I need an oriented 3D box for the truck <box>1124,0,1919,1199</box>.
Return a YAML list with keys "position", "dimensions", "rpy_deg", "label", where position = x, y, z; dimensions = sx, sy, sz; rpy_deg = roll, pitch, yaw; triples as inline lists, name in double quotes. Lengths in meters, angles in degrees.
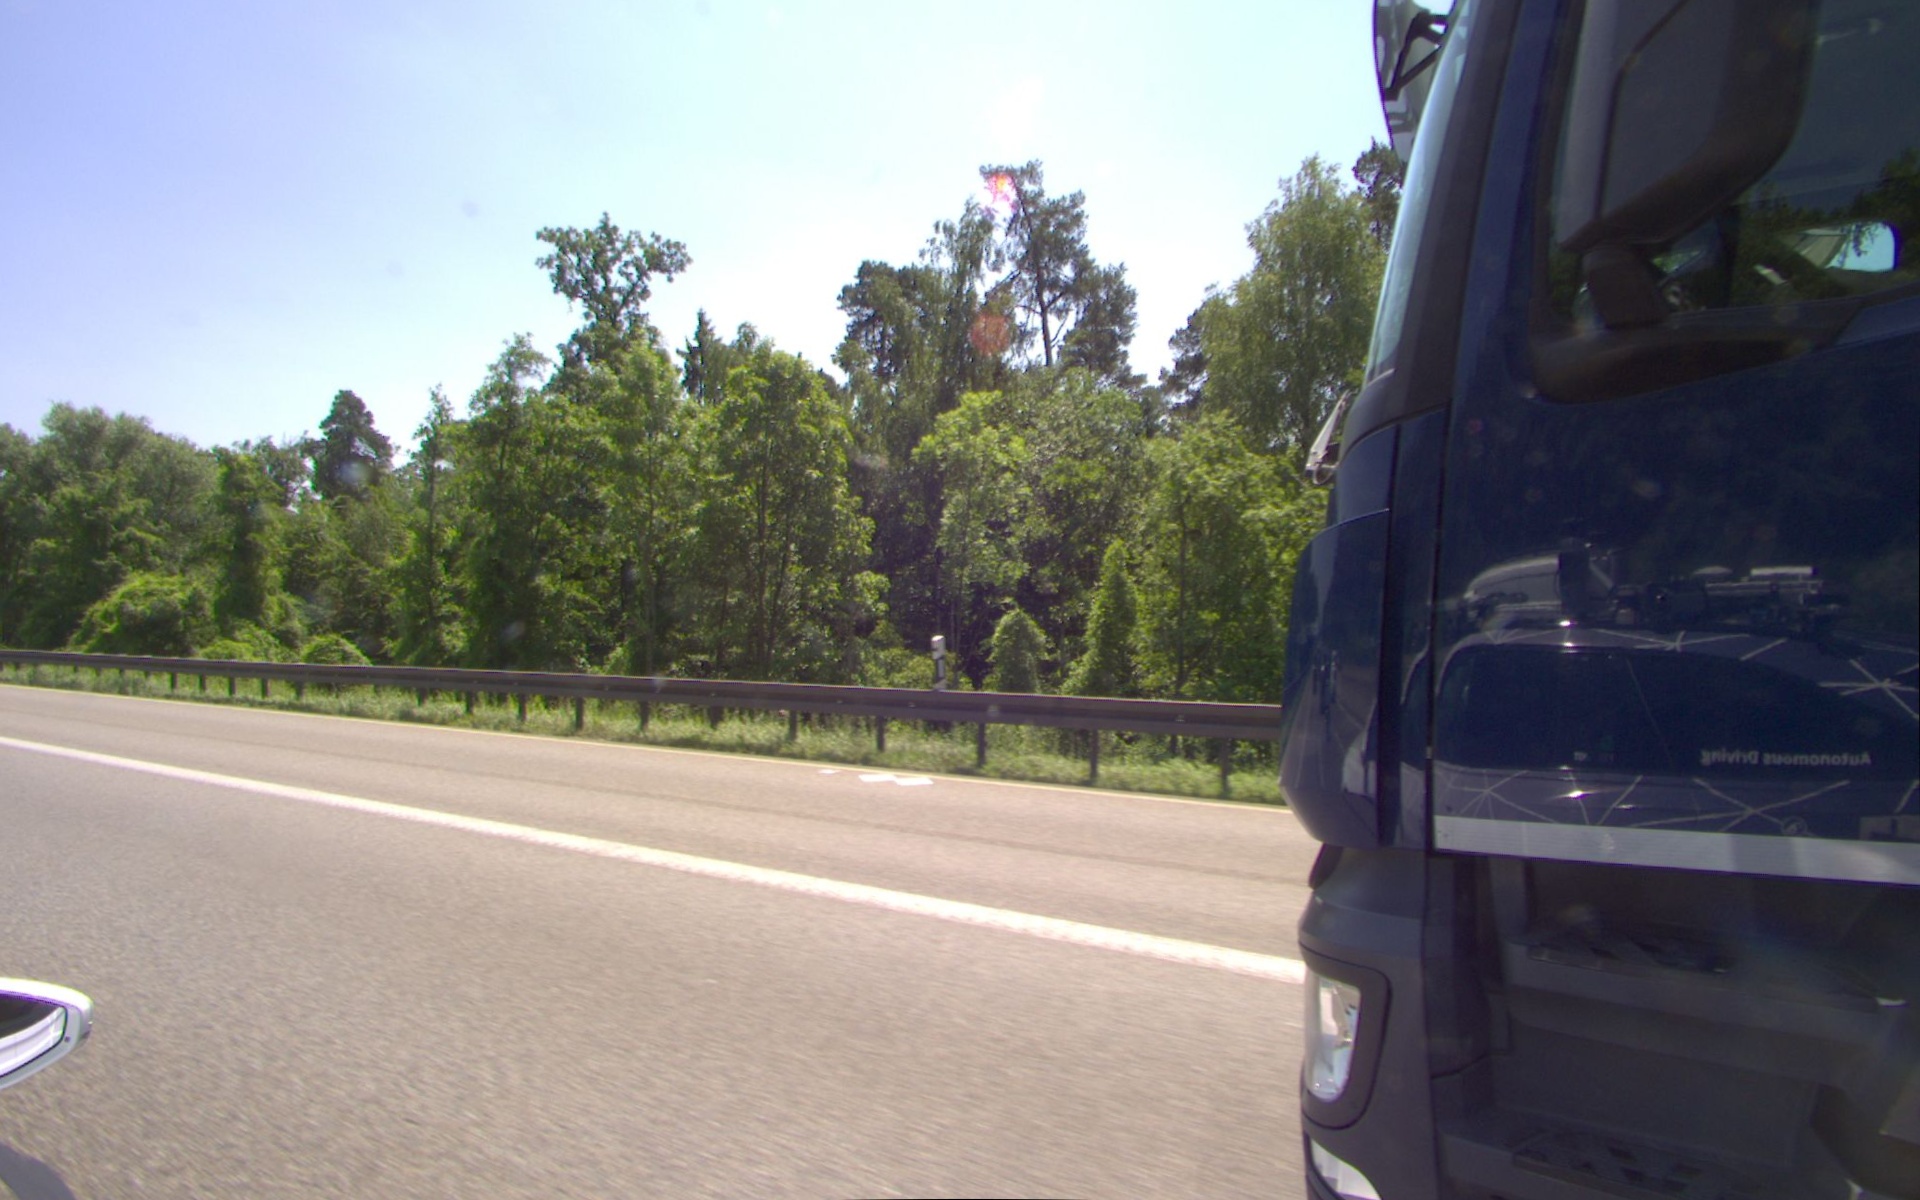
- position: [2.646, 0.002, 1.503]
  dimensions: [4.047, 2.979, 2.550]
  rpy_deg: [-2, -1, 33]
  label: "truck"
